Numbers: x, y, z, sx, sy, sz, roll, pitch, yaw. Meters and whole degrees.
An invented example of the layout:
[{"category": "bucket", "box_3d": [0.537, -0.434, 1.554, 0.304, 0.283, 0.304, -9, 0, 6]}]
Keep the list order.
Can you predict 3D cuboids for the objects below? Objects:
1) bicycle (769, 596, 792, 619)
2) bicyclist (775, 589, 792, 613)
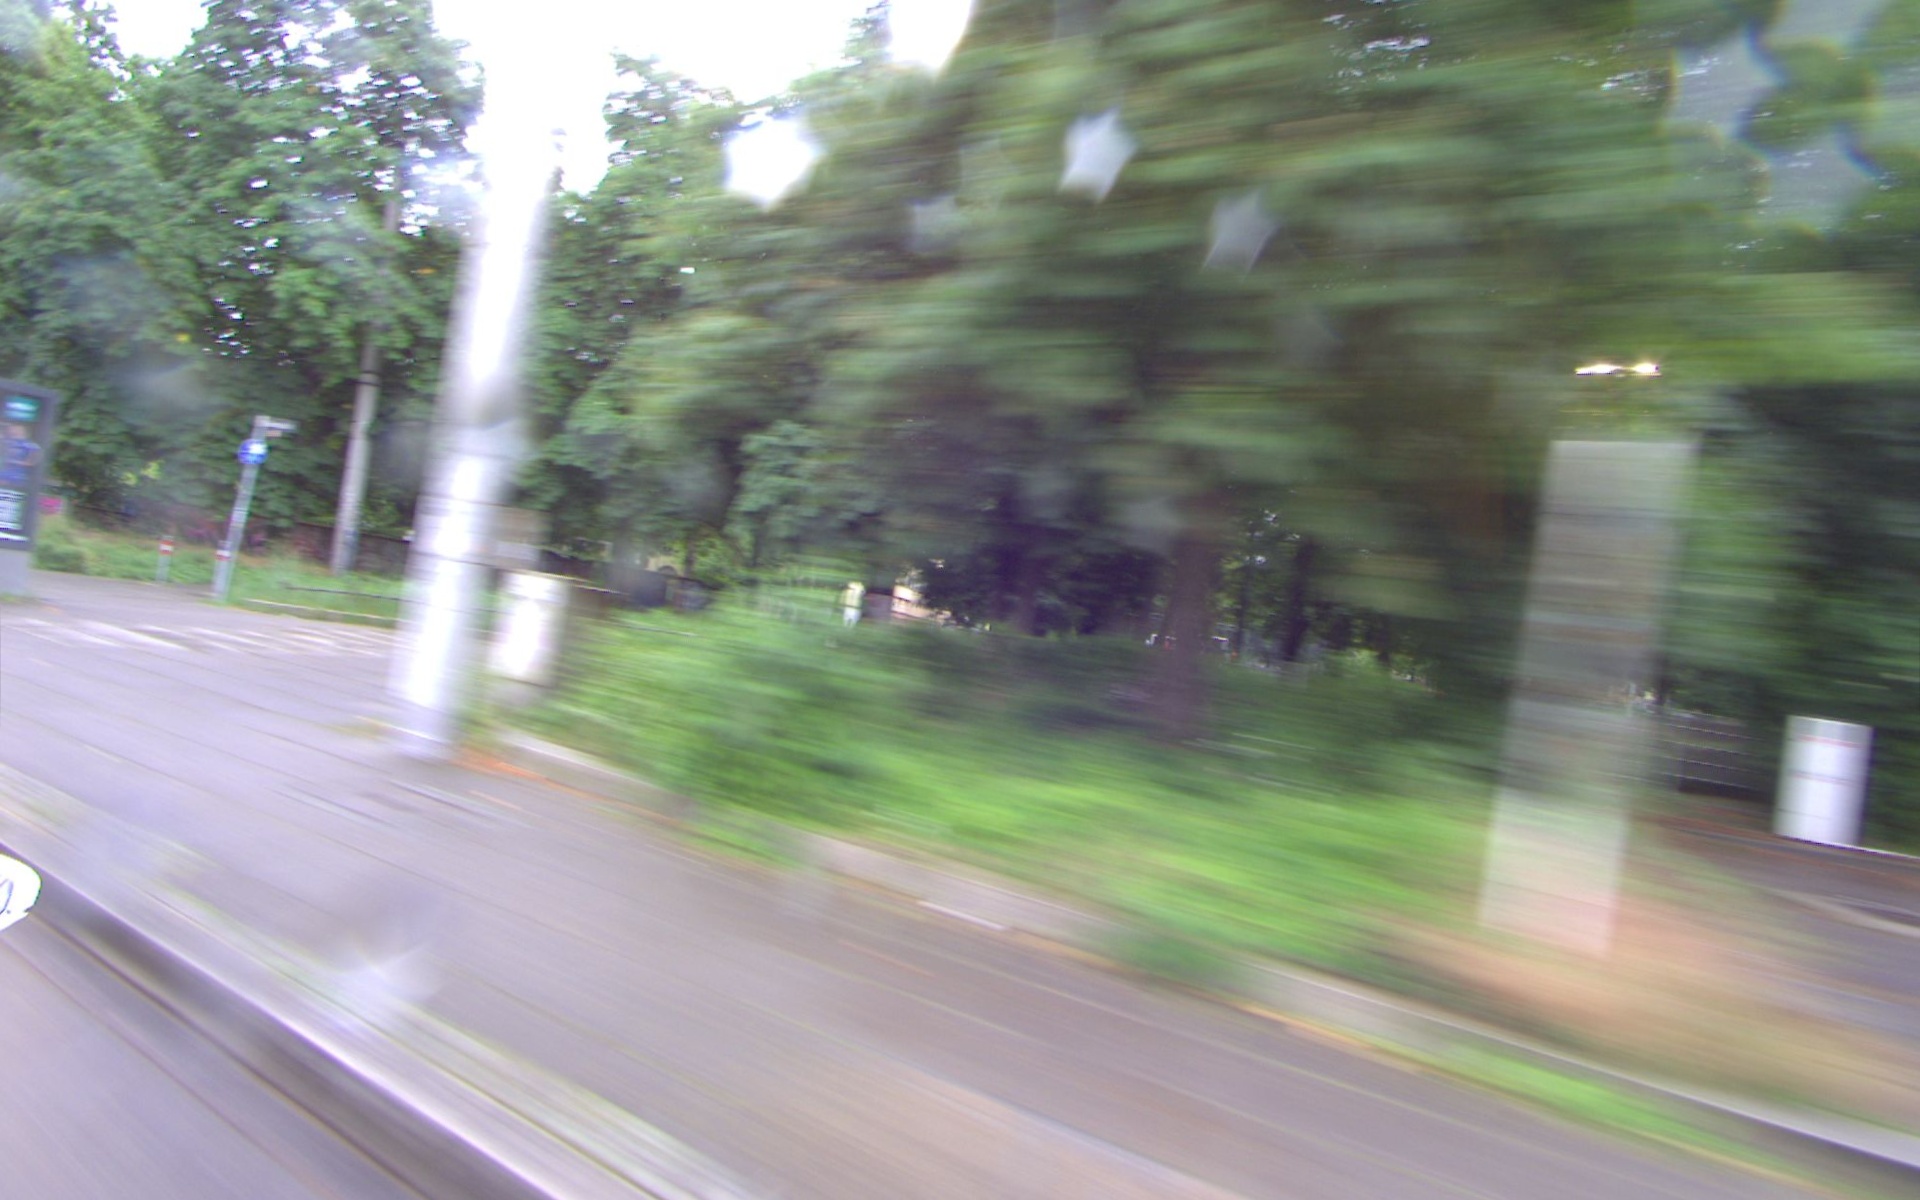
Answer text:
[{"category": "bicycle", "box_3d": [-10.112, 0.416, 56.735, 0.614, 1.154, 1.713, 7, -1, 8]}, {"category": "bicyclist", "box_3d": [-10.024, 0.068, 57.083, 0.583, 1.310, 0.801, 6, -1, 8]}]
